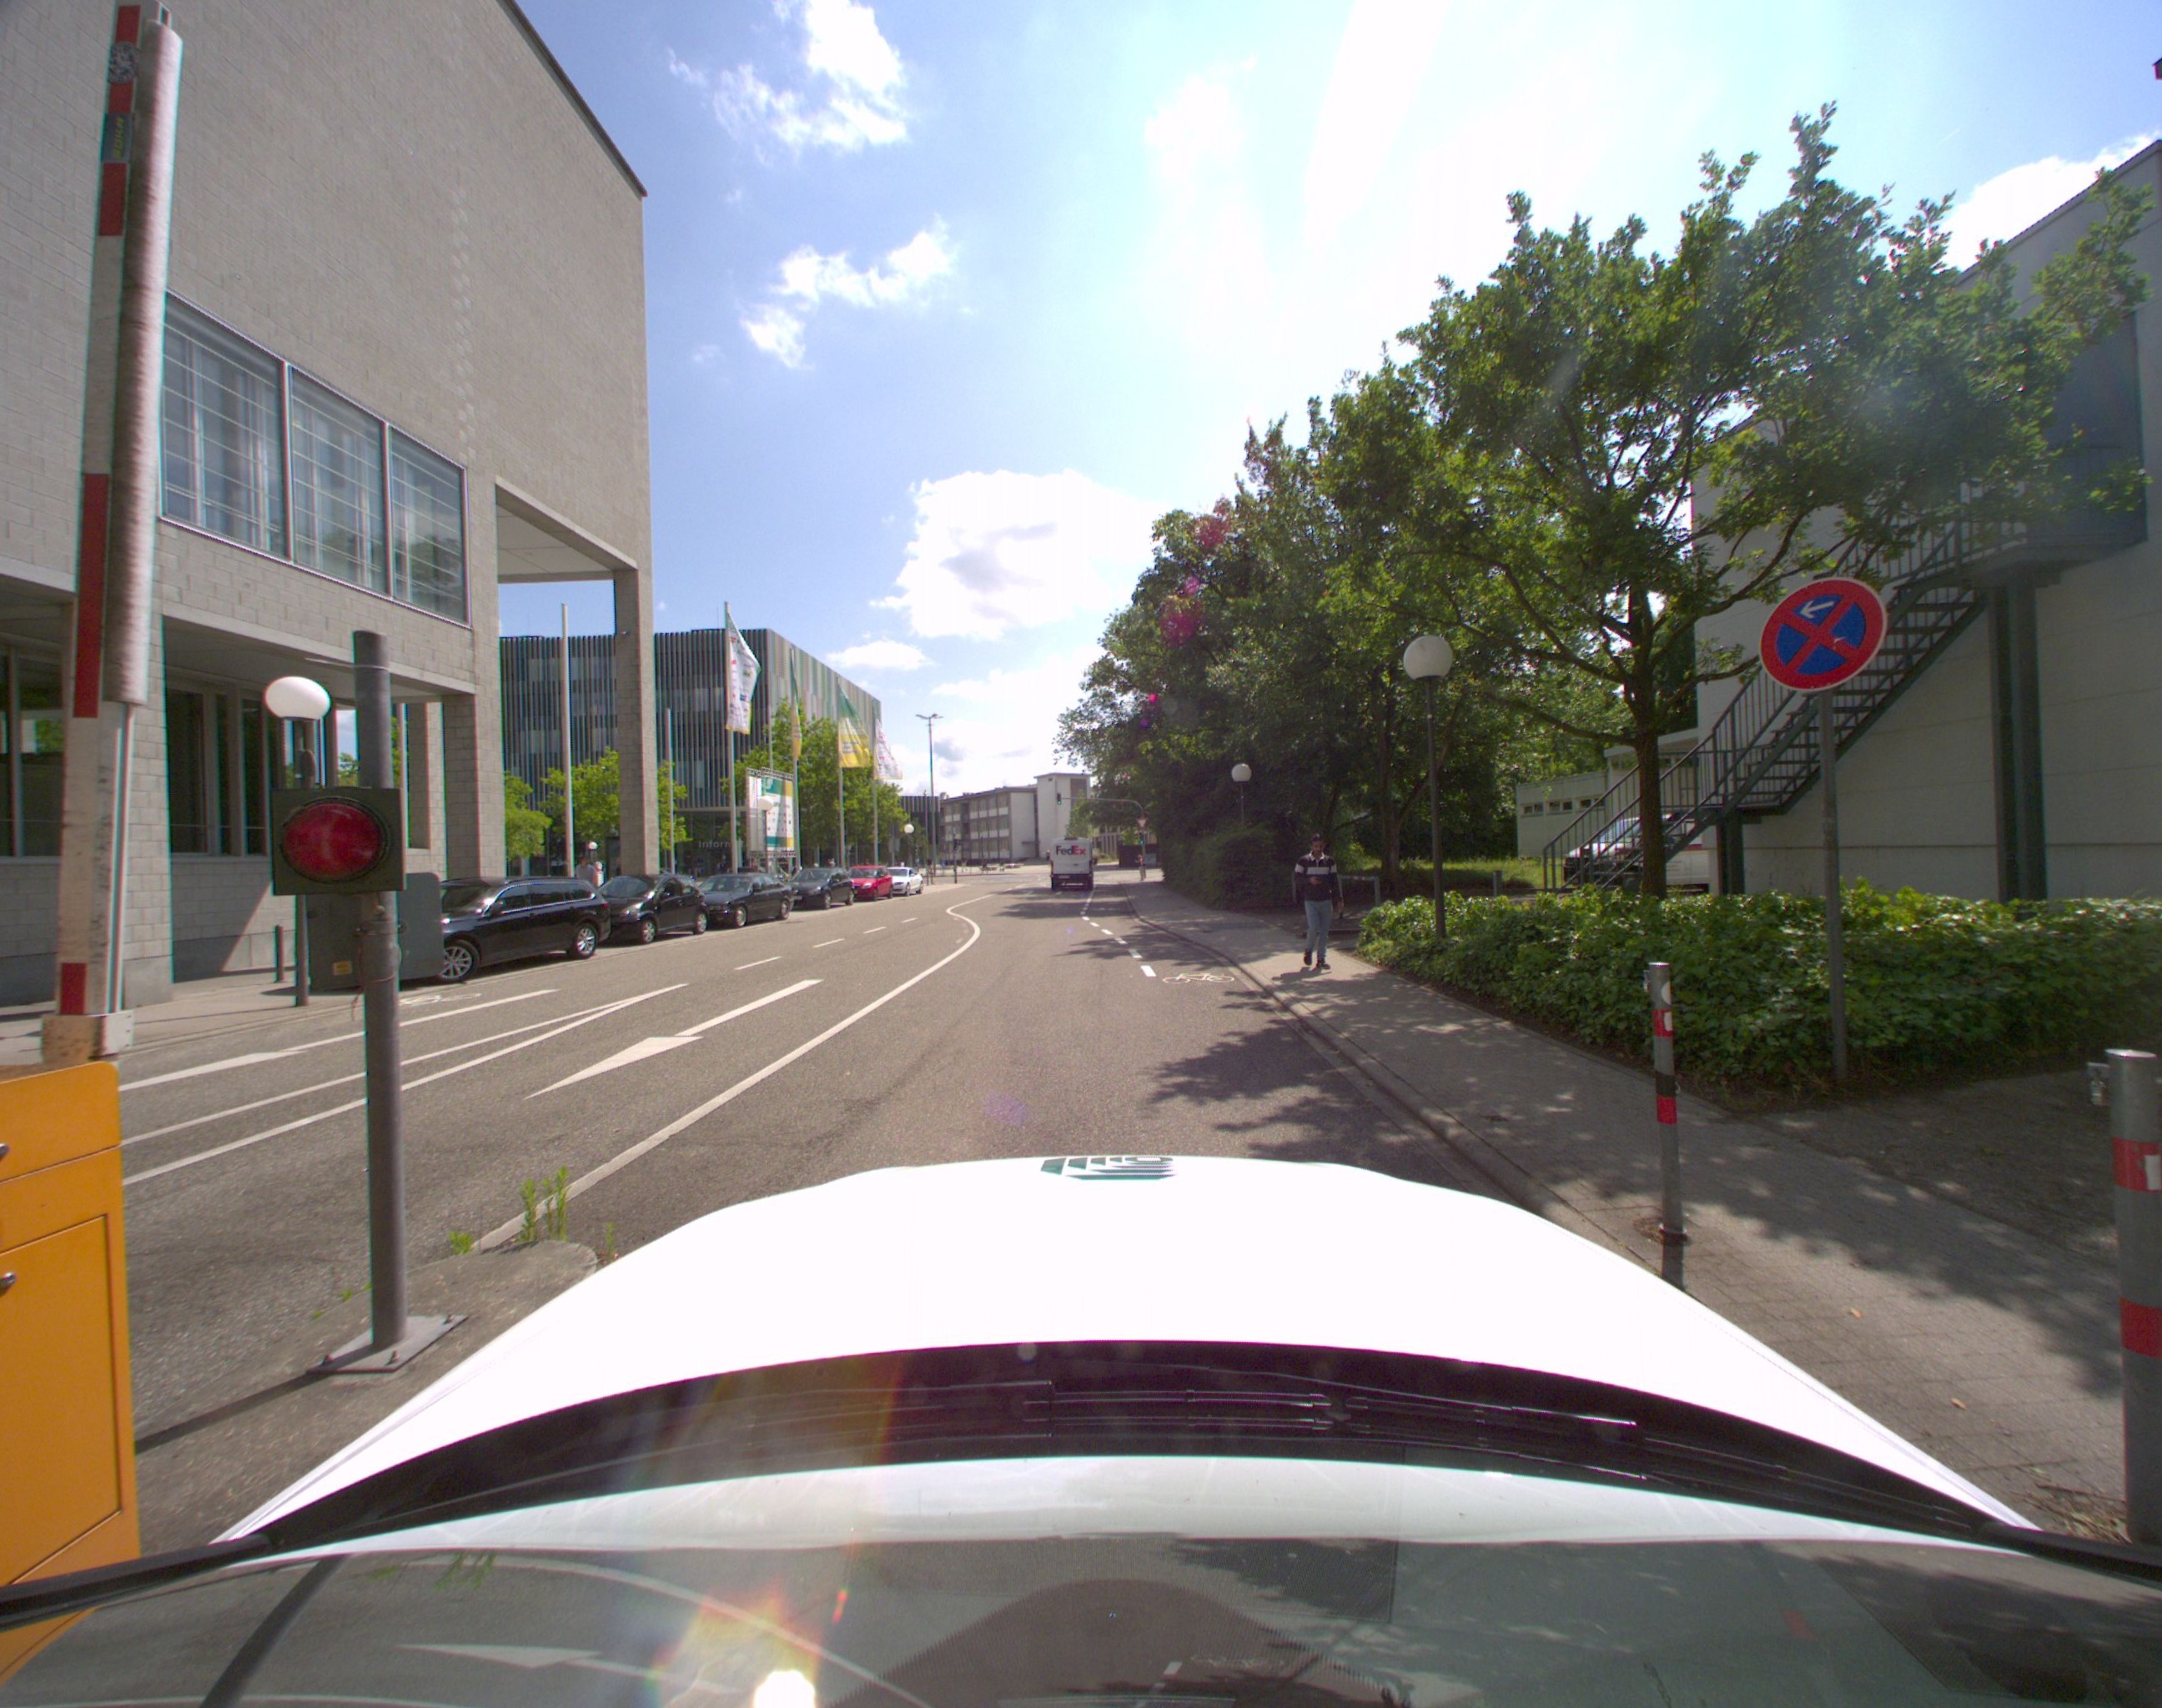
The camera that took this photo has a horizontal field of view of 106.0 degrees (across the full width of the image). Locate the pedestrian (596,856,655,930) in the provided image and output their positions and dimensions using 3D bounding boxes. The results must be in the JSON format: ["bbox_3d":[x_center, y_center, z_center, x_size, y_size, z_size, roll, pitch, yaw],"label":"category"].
[{"bbox_3d":[-12.925,1.077,23.164,0.982,2.013,1.164,-2,0,-3],"label":"pedestrian"}]

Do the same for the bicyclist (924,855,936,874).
[{"bbox_3d":[-15.198,1.061,82.074,0.784,1.817,1.002,-2,0,11],"label":"bicyclist"}]

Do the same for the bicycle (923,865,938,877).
[{"bbox_3d":[-15.177,1.666,82.123,0.765,1.122,2.033,-2,0,12],"label":"bicycle"}]

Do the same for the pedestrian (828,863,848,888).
[{"bbox_3d":[-18.331,1.620,61.406,0.853,1.819,1.102,-2,0,25],"label":"pedestrian"}]

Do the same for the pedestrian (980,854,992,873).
[{"bbox_3d":[-9.664,0.947,82.626,1.077,1.870,0.832,-2,0,0],"label":"pedestrian"}]

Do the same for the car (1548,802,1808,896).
[{"bbox_3d":[14.492,-0.115,20.013,4.806,2.013,2.063,-2,0,2],"label":"car"}]

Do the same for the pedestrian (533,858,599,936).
[{"bbox_3d":[-13.826,1.122,21.907,0.982,2.013,1.164,-2,0,-3],"label":"pedestrian"}]

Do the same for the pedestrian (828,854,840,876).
[{"bbox_3d":[-29.694,1.345,97.958,0.981,2.565,1.002,-1,-1,-41],"label":"pedestrian"}]

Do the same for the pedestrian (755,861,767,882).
[{"bbox_3d":[-38.864,2.116,98.806,0.969,2.565,1.015,-1,-1,1],"label":"pedestrian"}]

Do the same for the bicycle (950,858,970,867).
[{"bbox_3d":[-18.987,1.398,128.065,2.978,1.363,1.105,-1,-1,-36],"label":"bicycle"}]

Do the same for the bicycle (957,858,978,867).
[{"bbox_3d":[-17.620,1.360,126.141,2.978,1.363,1.105,-1,-1,-36],"label":"bicycle"}]

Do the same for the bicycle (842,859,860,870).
[{"bbox_3d":[-27.370,1.277,96.885,1.206,1.237,2.919,-1,0,-35],"label":"bicycle"}]

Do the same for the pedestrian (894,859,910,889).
[{"bbox_3d":[-11.279,1.237,51.404,0.716,1.859,0.771,-2,0,3],"label":"pedestrian"}]

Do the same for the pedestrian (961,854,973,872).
[{"bbox_3d":[-12.159,0.965,86.824,0.698,1.855,1.403,-2,1,11],"label":"pedestrian"}]

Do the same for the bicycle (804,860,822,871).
[{"bbox_3d":[-30.816,1.372,93.512,1.206,1.237,2.920,-1,0,-34],"label":"bicycle"}]

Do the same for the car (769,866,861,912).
[{"bbox_3d":[-9.566,1.220,29.599,1.740,1.467,4.200,0,0,3],"label":"car"}]

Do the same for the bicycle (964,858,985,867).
[{"bbox_3d":[-16.190,1.285,124.036,2.978,1.363,1.105,-1,-1,-36],"label":"bicycle"}]

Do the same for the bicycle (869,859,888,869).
[{"bbox_3d":[-24.653,1.232,99.077,1.206,1.237,2.919,-1,0,-36],"label":"bicycle"}]

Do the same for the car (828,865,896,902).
[{"bbox_3d":[-9.338,1.225,35.015,1.670,1.467,3.913,0,0,2],"label":"car"}]

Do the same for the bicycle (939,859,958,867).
[{"bbox_3d":[-21.579,1.462,132.623,2.978,1.363,1.105,-1,-1,-36],"label":"bicycle"}]

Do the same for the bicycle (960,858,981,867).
[{"bbox_3d":[-16.925,1.334,125.104,2.978,1.363,1.105,-1,-1,-36],"label":"bicycle"}]

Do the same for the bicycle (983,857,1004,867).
[{"bbox_3d":[-12.829,1.225,119.470,2.978,1.363,1.105,-1,-1,-36],"label":"bicycle"}]

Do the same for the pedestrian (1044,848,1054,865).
[{"bbox_3d":[-3.640,0.309,93.099,0.867,1.889,0.907,-2,0,-18],"label":"pedestrian"}]

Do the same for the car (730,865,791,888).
[{"bbox_3d":[-26.321,1.856,66.967,4.264,1.661,1.654,-2,0,2],"label":"car"}]

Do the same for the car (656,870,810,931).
[{"bbox_3d":[-9.418,1.199,22.581,1.851,1.378,5.021,0,0,3],"label":"car"}]

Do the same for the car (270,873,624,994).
[{"bbox_3d":[-9.633,1.103,13.030,1.852,1.467,4.720,0,0,2],"label":"car"}]

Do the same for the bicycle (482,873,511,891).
[{"bbox_3d":[-66.579,3.179,92.794,0.982,1.838,2.953,-1,0,2],"label":"bicycle"}]

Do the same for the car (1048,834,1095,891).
[{"bbox_3d":[-0.383,0.380,40.664,2.088,2.566,5.603,-2,0,1],"label":"car"}]

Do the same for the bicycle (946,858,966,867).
[{"bbox_3d":[-19.838,1.424,129.566,2.978,1.363,1.105,-1,-1,-36],"label":"bicycle"}]

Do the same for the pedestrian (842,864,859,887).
[{"bbox_3d":[-17.360,1.603,61.367,0.819,1.654,0.865,-2,0,15],"label":"pedestrian"}]

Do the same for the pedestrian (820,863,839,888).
[{"bbox_3d":[-19.170,1.626,62.104,0.845,1.876,1.012,-2,0,24],"label":"pedestrian"}]

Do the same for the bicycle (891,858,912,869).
[{"bbox_3d":[-22.153,1.187,100.547,1.208,1.237,2.915,-1,-1,-44],"label":"bicycle"}]

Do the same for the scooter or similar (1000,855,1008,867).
[{"bbox_3d":[-8.135,0.741,86.017,0.716,1.178,2.716,-2,0,-9],"label":"scooter or similar"}]

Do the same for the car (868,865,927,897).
[{"bbox_3d":[-8.955,1.275,40.142,1.670,1.395,4.665,0,0,2],"label":"car"}]

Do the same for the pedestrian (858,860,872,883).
[{"bbox_3d":[-15.585,1.258,58.772,0.767,1.598,0.799,-2,0,3],"label":"pedestrian"}]

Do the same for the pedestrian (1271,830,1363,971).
[{"bbox_3d":[2.992,0.560,10.430,0.737,1.674,1.256,-2,0,-2],"label":"pedestrian"}]

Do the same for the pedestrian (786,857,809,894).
[{"bbox_3d":[-14.477,1.092,41.636,0.716,1.851,1.090,-1,0,5],"label":"pedestrian"}]

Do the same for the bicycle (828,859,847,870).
[{"bbox_3d":[-28.516,1.269,95.325,1.206,1.237,2.920,-1,0,-34],"label":"bicycle"}]

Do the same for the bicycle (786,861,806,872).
[{"bbox_3d":[-32.453,1.457,92.729,1.383,1.237,2.920,-1,0,-34],"label":"bicycle"}]

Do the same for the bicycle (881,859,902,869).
[{"bbox_3d":[-23.187,1.203,99.651,1.208,1.237,2.915,-1,-1,-44],"label":"bicycle"}]

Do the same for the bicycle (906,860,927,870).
[{"bbox_3d":[-20.534,1.413,101.820,1.208,1.237,2.915,-1,-1,-44],"label":"bicycle"}]

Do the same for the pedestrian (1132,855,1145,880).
[{"bbox_3d":[3.614,0.826,51.459,0.729,1.576,0.774,-1,0,-3],"label":"pedestrian"}]

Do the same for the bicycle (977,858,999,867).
[{"bbox_3d":[-13.834,1.253,120.754,2.978,1.363,1.262,-1,-1,-36],"label":"bicycle"}]

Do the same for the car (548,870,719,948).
[{"bbox_3d":[-9.704,1.130,17.999,1.632,1.467,3.708,0,0,1],"label":"car"}]

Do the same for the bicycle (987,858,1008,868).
[{"bbox_3d":[-12.122,1.310,118.355,2.978,1.363,1.105,-1,-1,-36],"label":"bicycle"}]

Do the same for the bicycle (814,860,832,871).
[{"bbox_3d":[-29.979,1.349,94.552,1.206,1.237,2.920,-1,0,-34],"label":"bicycle"}]

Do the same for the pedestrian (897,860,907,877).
[{"bbox_3d":[-17.551,1.400,79.728,0.751,1.678,0.755,-2,0,-2],"label":"pedestrian"}]

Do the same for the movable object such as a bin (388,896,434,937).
[{"bbox_3d":[-16.110,1.488,19.592,0.573,0.930,0.596,-1,-1,2],"label":"movable object such as a bin"}]

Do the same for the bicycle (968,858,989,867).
[{"bbox_3d":[-15.435,1.261,122.964,2.978,1.363,1.105,-1,-1,-36],"label":"bicycle"}]
